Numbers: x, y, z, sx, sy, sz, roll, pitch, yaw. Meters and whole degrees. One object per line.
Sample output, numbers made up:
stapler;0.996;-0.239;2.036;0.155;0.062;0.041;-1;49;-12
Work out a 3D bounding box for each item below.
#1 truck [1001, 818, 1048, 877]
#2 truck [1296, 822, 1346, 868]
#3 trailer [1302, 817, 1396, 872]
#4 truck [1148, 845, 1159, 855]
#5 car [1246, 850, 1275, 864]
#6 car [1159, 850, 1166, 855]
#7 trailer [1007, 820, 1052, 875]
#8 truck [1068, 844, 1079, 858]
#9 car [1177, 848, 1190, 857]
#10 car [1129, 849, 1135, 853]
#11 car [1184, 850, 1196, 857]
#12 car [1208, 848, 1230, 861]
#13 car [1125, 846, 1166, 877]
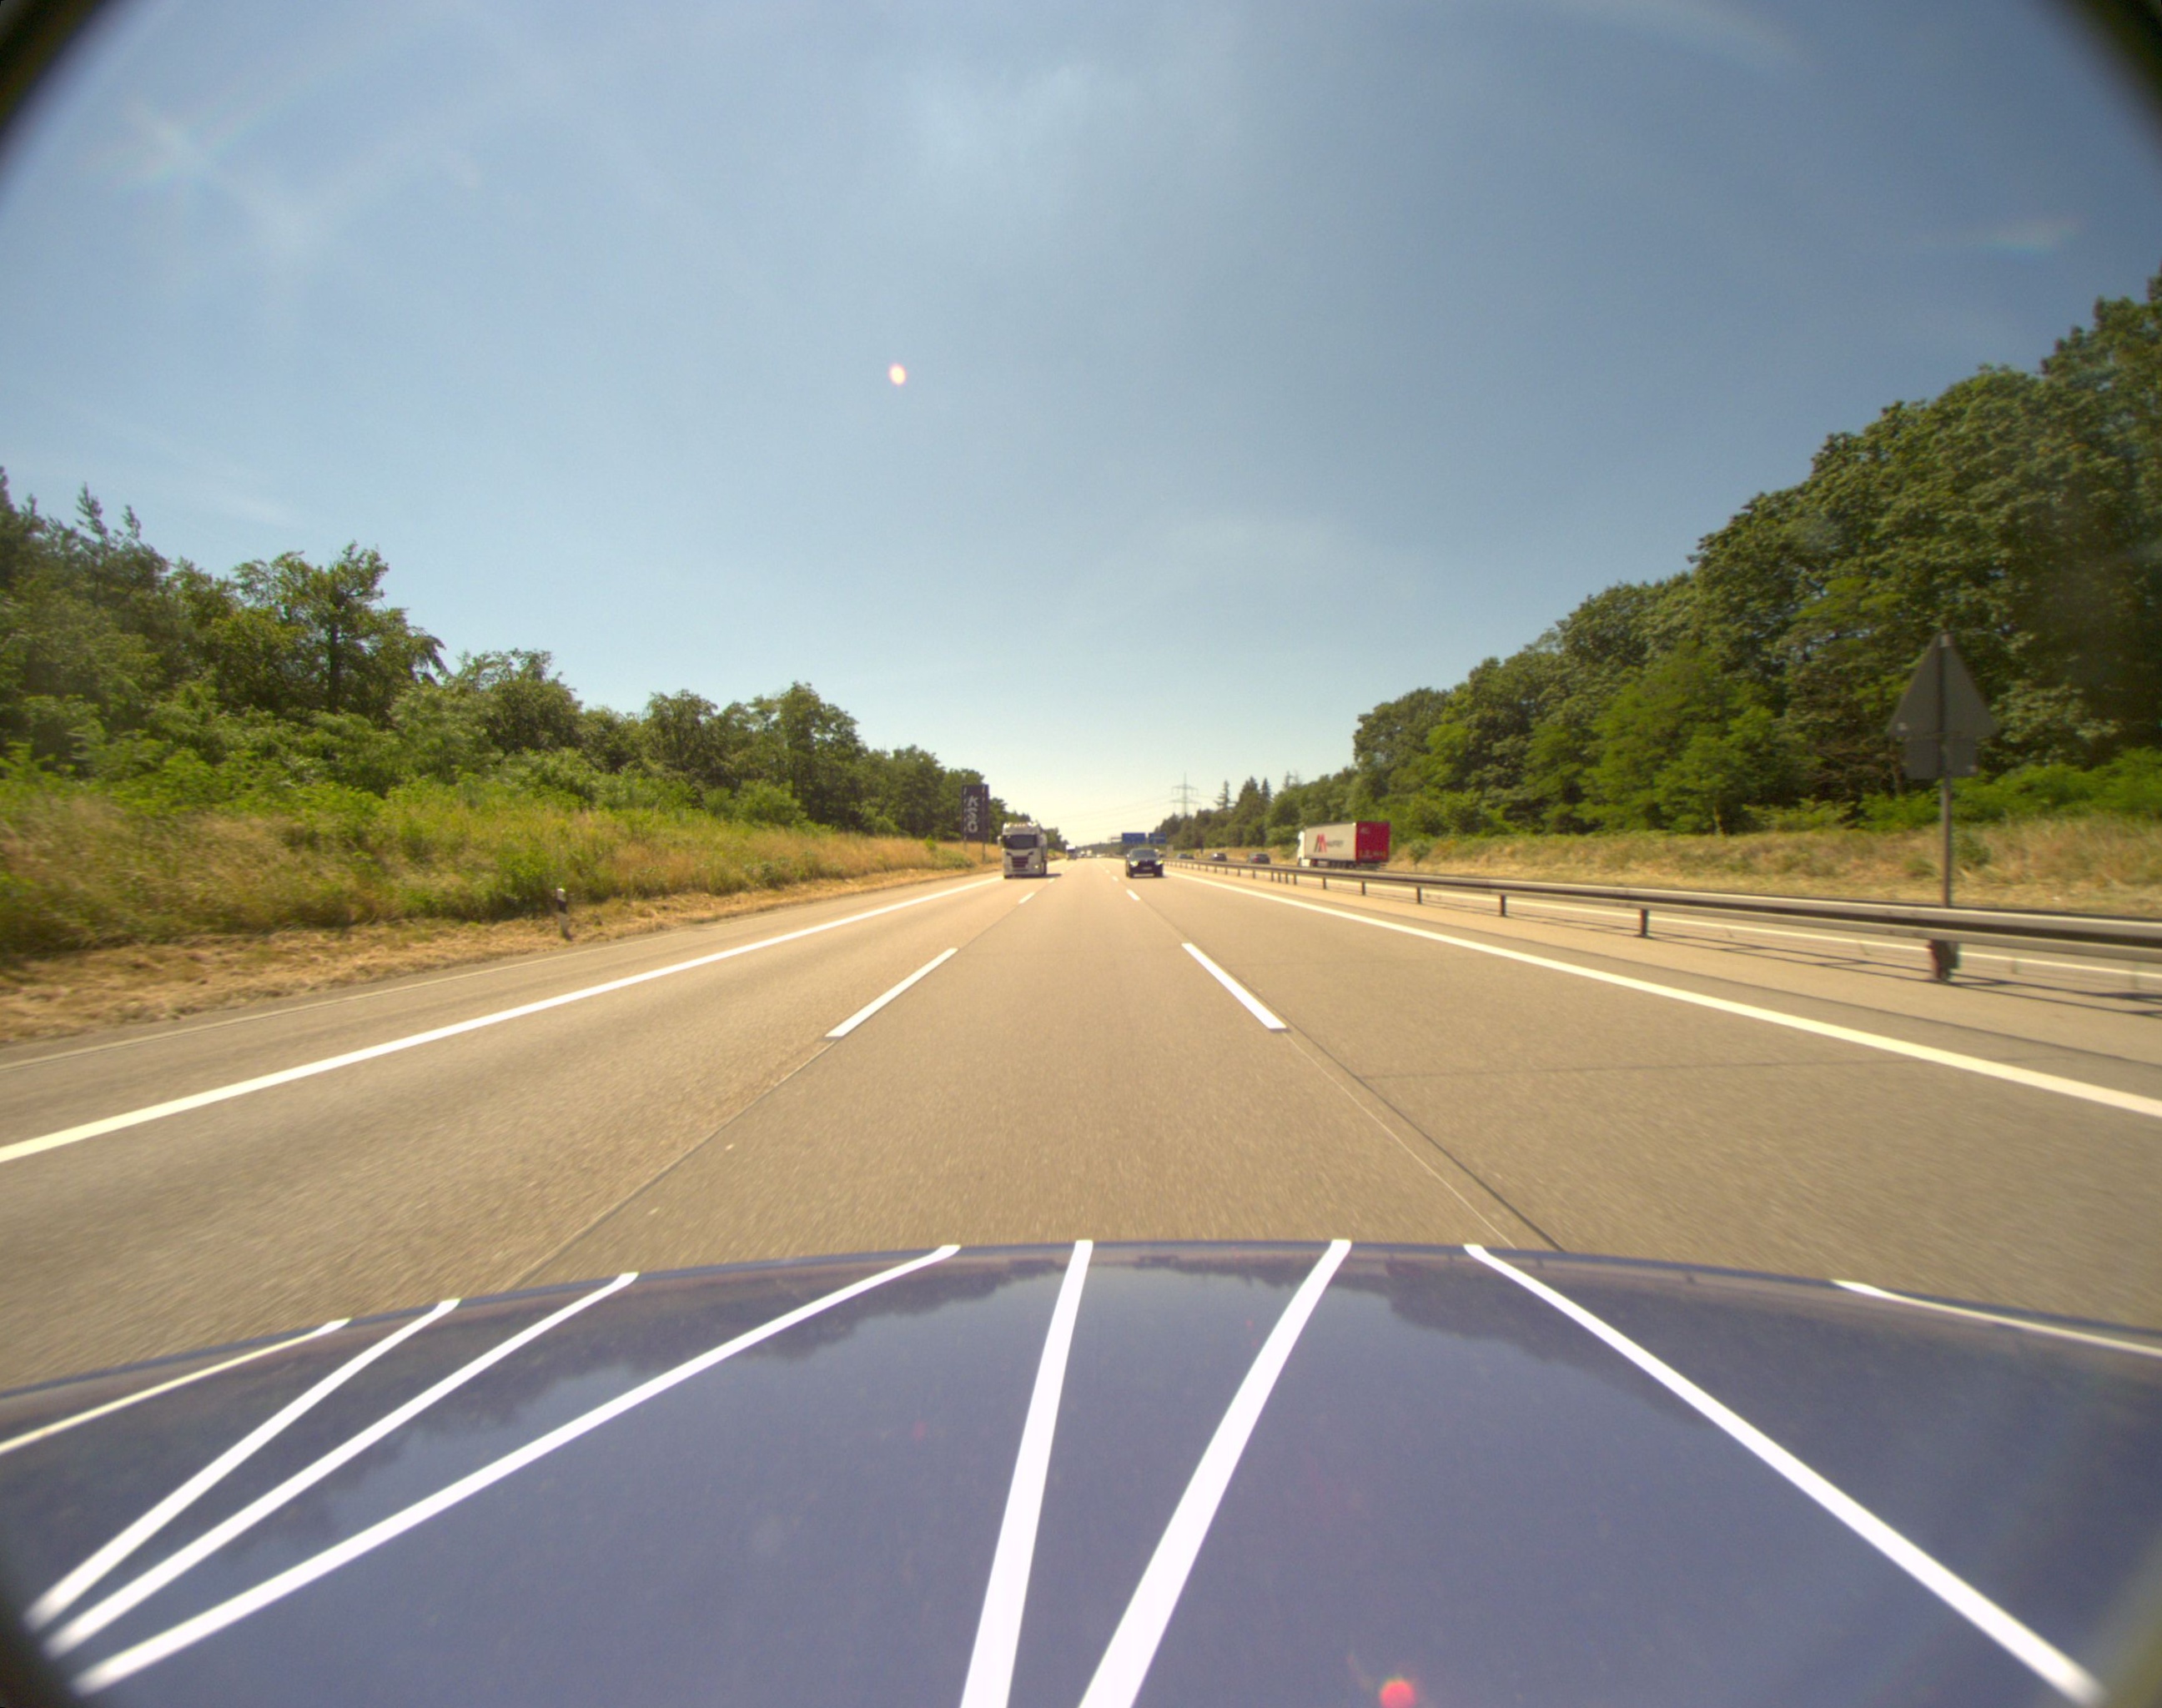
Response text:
truck;-3.841;-0.433;52.875;2.605;3.812;5.969;-2;0;1
truck;22.473;-0.845;71.398;2.819;4.095;5.674;2;1;1
trailer;22.427;-0.792;64.858;2.819;4.095;14.546;2;0;0
truck;21.191;-1.219;222.447;2.657;2.657;6.366;2;0;0
car;18.743;0.293;79.442;1.893;1.426;4.582;2;0;1
car;25.479;-0.472;236.920;1.776;1.513;3.908;2;0;0
trailer;-3.794;-0.463;57.935;2.605;3.811;8.698;-2;0;1
truck;-2.015;-0.735;203.306;2.593;3.534;8.649;-2;0;1
car;18.213;-0.253;134.899;1.776;1.513;3.908;2;0;0
car;16.694;-0.831;248.614;1.662;1.248;3.607;2;0;0
car;23.112;-0.139;161.092;1.776;1.408;3.870;2;0;0
car;18.335;0.040;101.091;1.894;1.671;4.721;2;0;0
car;3.851;0.406;46.356;1.945;1.742;5.812;-2;0;0
